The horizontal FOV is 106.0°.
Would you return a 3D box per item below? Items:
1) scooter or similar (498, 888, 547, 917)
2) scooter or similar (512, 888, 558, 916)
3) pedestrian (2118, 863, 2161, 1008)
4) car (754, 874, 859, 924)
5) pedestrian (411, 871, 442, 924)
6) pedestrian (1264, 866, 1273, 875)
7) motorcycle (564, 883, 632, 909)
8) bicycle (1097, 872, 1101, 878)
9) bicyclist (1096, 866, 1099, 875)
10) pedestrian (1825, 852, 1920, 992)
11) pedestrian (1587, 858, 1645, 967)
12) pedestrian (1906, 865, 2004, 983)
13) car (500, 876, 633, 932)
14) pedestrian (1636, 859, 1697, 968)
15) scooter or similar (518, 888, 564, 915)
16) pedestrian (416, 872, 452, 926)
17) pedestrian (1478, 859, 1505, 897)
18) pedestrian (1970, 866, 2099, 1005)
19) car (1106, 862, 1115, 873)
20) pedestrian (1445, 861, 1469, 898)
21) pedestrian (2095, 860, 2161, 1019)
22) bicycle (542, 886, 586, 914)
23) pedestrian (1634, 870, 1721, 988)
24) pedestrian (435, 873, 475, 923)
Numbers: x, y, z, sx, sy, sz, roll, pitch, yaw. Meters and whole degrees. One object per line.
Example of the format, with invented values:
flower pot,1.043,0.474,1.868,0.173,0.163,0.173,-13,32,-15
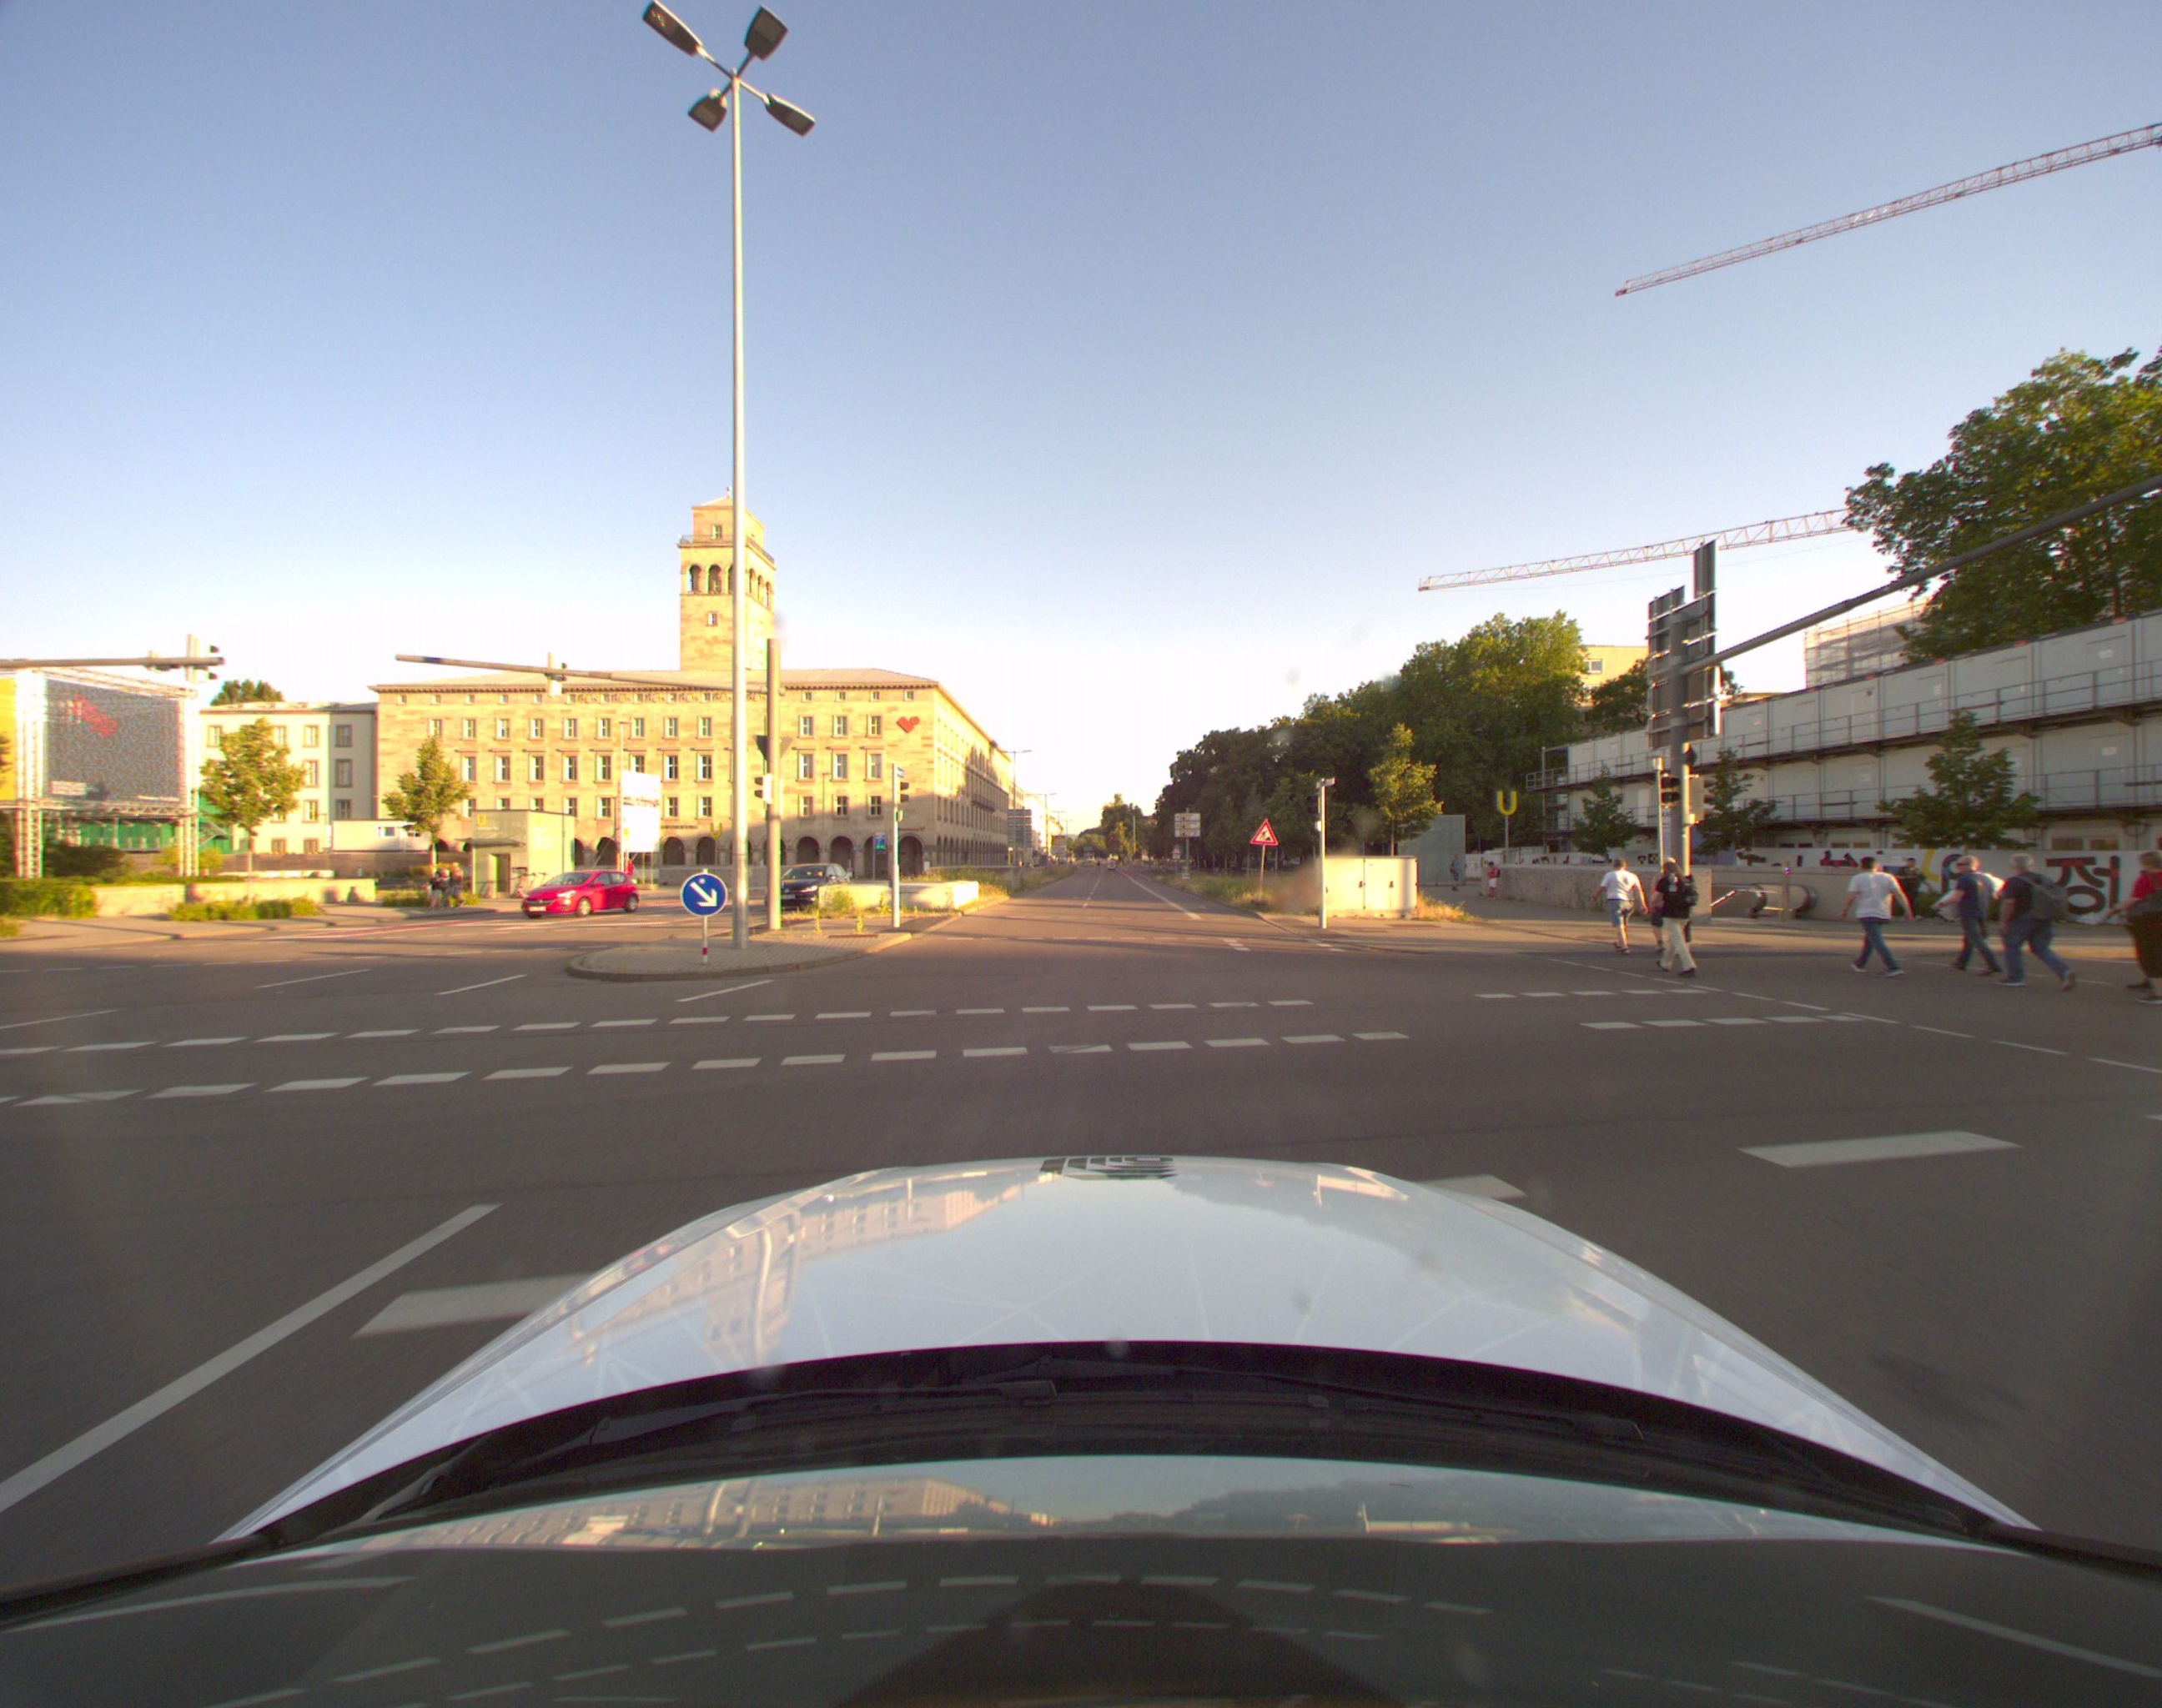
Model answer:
scooter or similar,-25.872,2.250,37.754,1.855,1.305,0.500,0,-2,-6
scooter or similar,-25.955,2.275,38.742,1.827,1.305,0.422,0,-2,-6
pedestrian,13.410,0.986,9.911,0.640,1.746,0.577,-4,-2,3
car,-8.820,1.407,26.597,1.880,1.466,4.536,0,-1,0
pedestrian,-24.508,1.613,30.503,0.656,1.933,0.648,0,-1,2
pedestrian,21.124,1.855,91.660,0.682,0.884,0.588,4,-1,-24
motorcycle,-26.830,2.349,45.259,3.223,1.383,0.839,1,-2,-1
bicycle,3.245,3.747,148.177,0.635,1.069,2.069,0,-1,1
bicyclist,2.969,2.994,147.896,0.626,1.693,0.748,-1,-2,0
pedestrian,11.536,0.964,11.894,0.640,1.968,0.763,0,-1,3
pedestrian,9.724,1.040,14.815,0.640,1.933,0.620,0,-1,3
pedestrian,13.145,1.025,12.272,0.641,1.712,0.762,0,-1,-3
car,-15.996,1.495,25.570,1.630,1.527,3.999,0,-1,0
pedestrian,10.570,1.061,14.729,0.640,1.933,0.620,0,-1,3
scooter or similar,-25.983,2.279,39.184,1.832,1.305,0.422,0,-2,-6
pedestrian,-23.630,1.623,29.738,0.629,1.933,0.776,1,-1,2
pedestrian,16.414,0.968,32.560,0.757,1.491,0.644,0,0,0
pedestrian,12.215,1.026,10.463,0.640,1.713,0.763,0,-4,3
car,5.142,2.361,140.788,1.453,1.781,2.567,0,-1,3
pedestrian,18.608,1.258,40.320,0.810,1.815,1.048,0,-1,6
pedestrian,12.023,0.932,8.956,0.640,1.712,0.871,0,-1,3
bicycle,-26.115,2.291,41.186,0.615,1.324,2.508,0,-1,-1
pedestrian,8.622,1.058,11.807,0.639,1.628,0.872,0,-1,5
pedestrian,-23.614,1.657,30.734,0.868,1.837,0.776,0,-1,2
